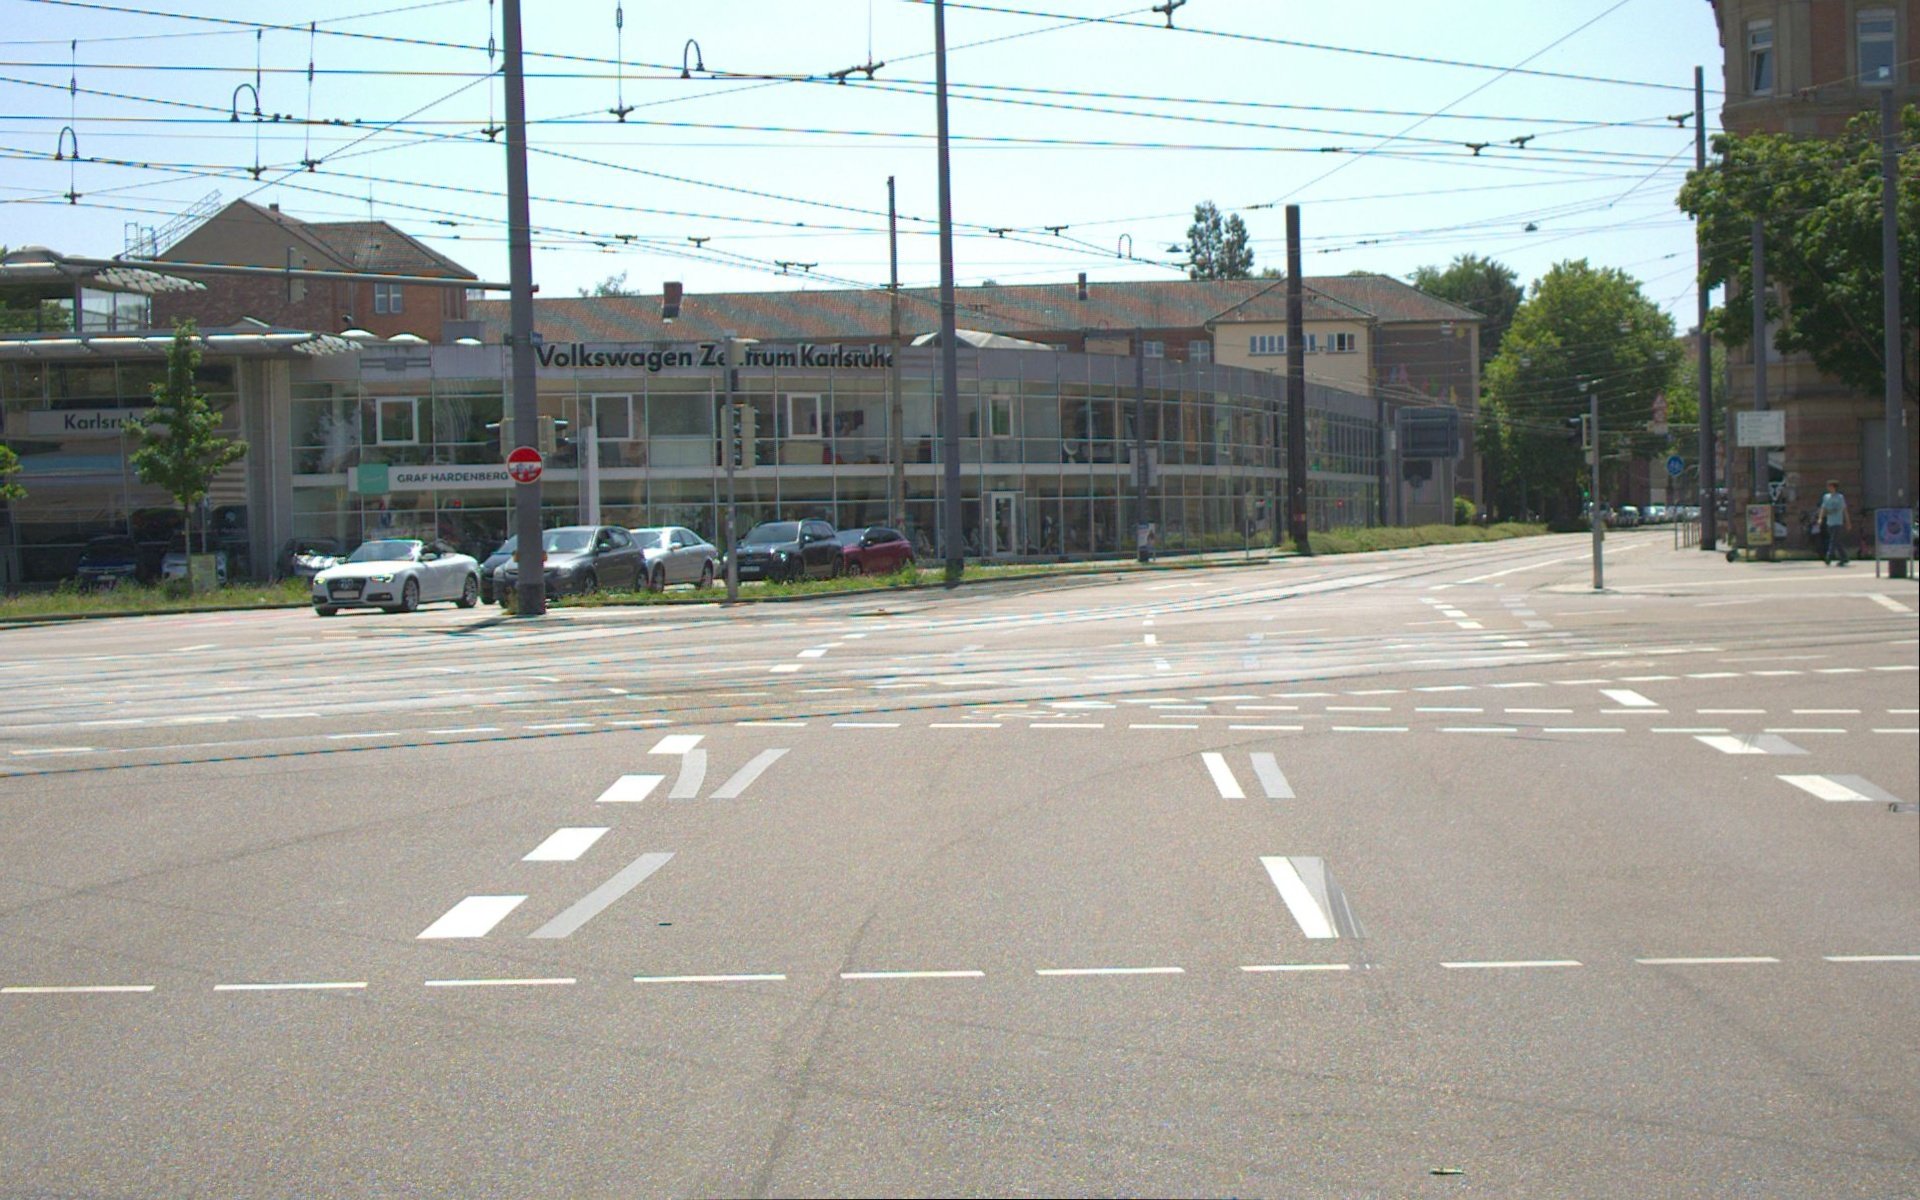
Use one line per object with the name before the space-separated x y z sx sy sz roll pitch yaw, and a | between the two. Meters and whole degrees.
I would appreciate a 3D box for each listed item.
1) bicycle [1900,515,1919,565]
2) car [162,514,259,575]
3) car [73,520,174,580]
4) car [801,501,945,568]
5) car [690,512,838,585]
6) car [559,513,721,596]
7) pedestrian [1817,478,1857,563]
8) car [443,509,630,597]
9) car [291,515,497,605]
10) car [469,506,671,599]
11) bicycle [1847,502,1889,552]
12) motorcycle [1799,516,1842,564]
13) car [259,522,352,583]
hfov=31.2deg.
bicycle | 22.122 -1.380 79.394 0.442 1.142 2.093 1 0 6
car | -21.770 -1.602 100.041 1.920 1.701 4.000 1 0 0
car | -24.310 -1.440 100.034 1.920 1.701 4.000 1 0 0
car | -2.381 -1.794 94.754 1.997 1.769 3.992 1 1 34
car | -4.745 -1.274 84.034 2.080 1.677 4.843 -1 1 17
car | -7.047 -1.036 76.263 1.995 1.733 4.540 -1 1 17
pedestrian | 17.698 -1.603 69.397 0.461 1.702 0.640 -2 1 -25
car | -8.603 -0.982 70.319 1.995 1.694 4.843 -1 1 17
car | -10.501 -0.777 64.182 2.078 1.574 4.844 -1 1 13
car | -7.252 -0.914 64.491 1.995 1.631 4.843 -1 1 17
bicycle | 20.817 -1.675 78.837 0.551 1.116 1.820 -1 1 3
motorcycle | 19.771 -1.385 79.018 0.580 1.071 1.946 -1 1 3
car | -19.065 -1.371 100.306 1.920 1.701 4.000 1 0 0
